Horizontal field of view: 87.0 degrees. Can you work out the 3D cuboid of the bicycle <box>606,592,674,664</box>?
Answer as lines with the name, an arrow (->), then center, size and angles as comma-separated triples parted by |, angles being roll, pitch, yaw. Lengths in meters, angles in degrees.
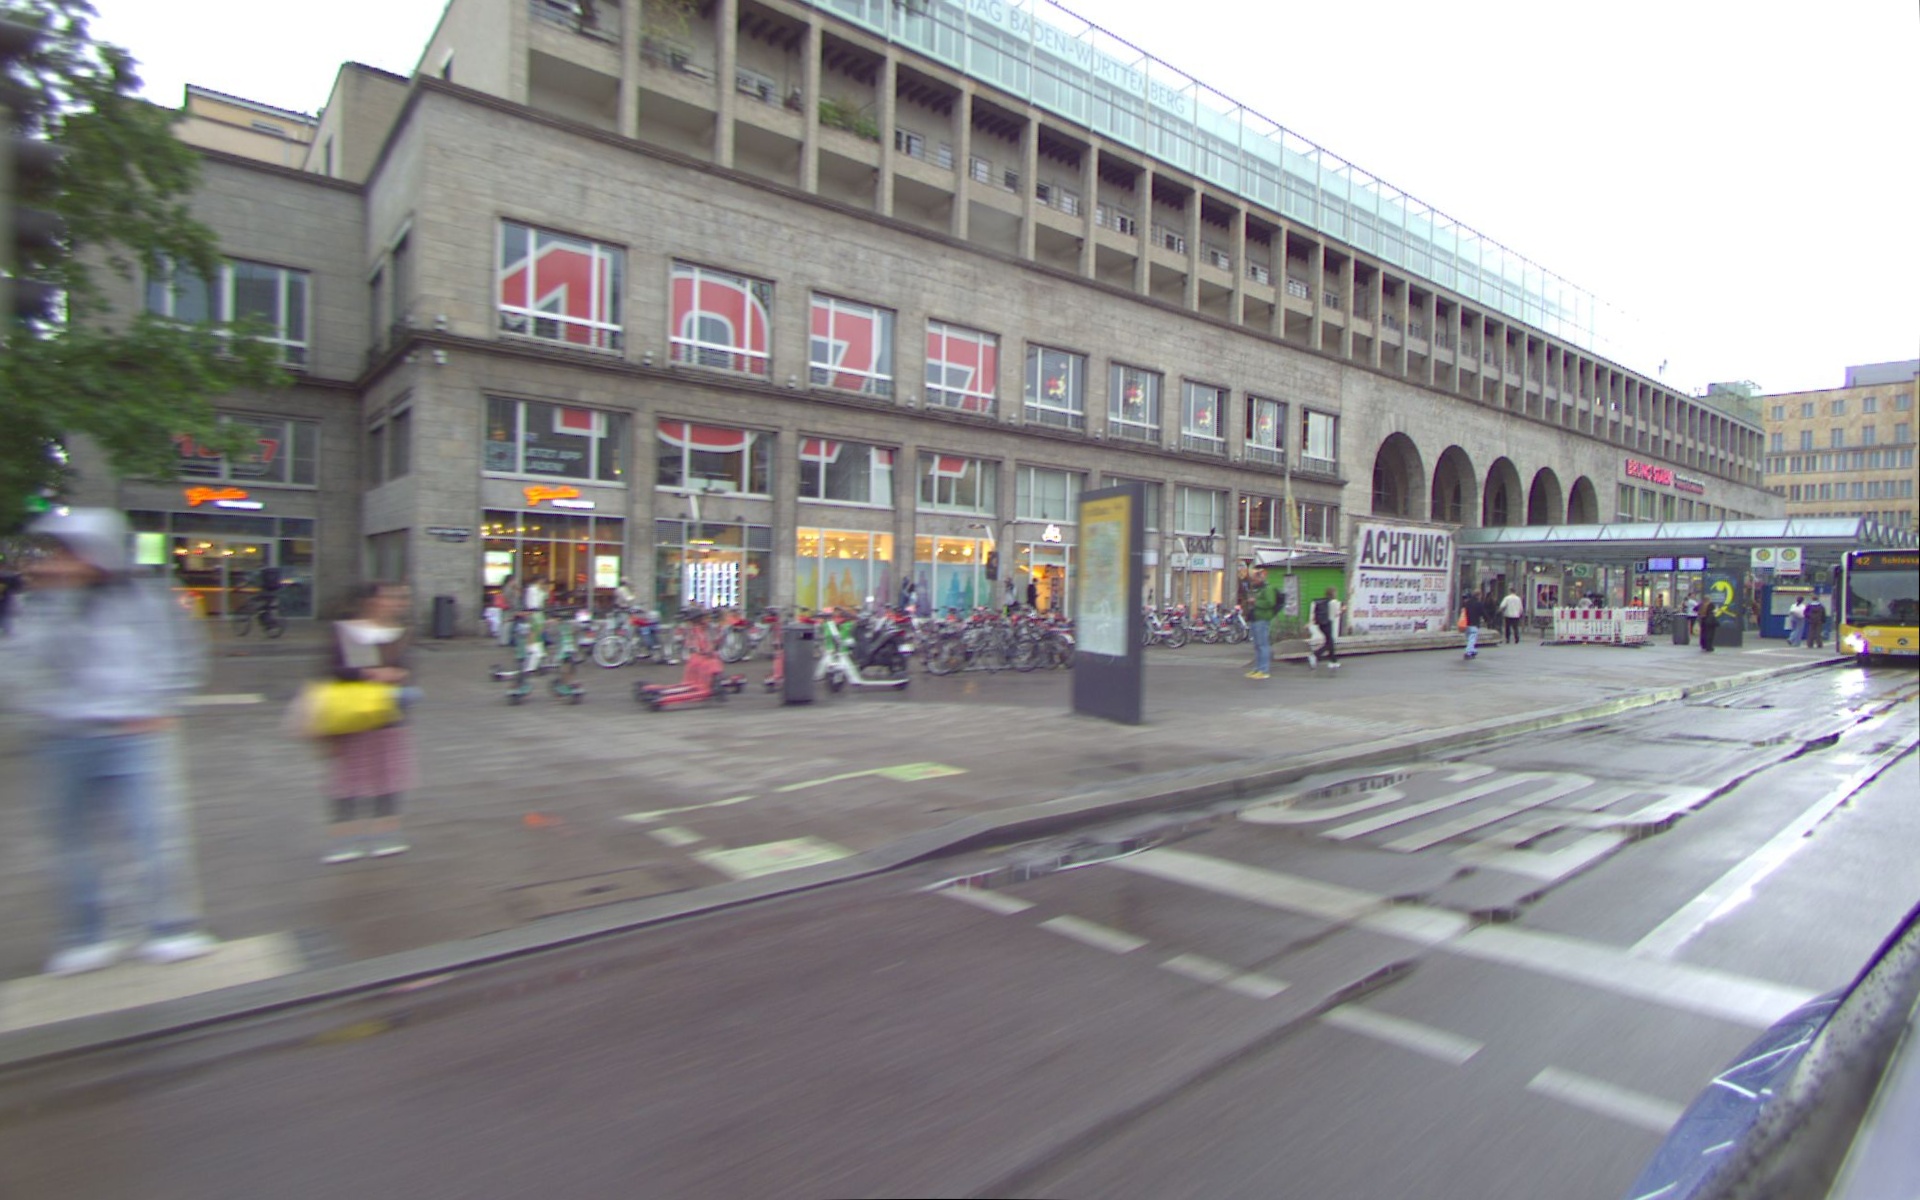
bicycle -> -6.308, 0.521, 19.887 | 0.606, 1.252, 1.995 | 0, 2, -38

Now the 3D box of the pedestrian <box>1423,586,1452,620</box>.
pedestrian -> 23.026, 0.128, 48.775 | 0.973, 1.609, 0.789 | 1, 1, -3

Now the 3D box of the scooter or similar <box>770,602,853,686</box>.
scooter or similar -> -2.386, 0.677, 16.225 | 1.300, 1.272, 0.585 | 0, 0, 37

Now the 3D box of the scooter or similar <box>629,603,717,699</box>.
scooter or similar -> -4.062, 0.695, 14.371 | 1.152, 1.297, 0.369 | 0, 0, -39

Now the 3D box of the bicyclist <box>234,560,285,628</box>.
bicyclist -> -16.561, -0.161, 23.934 | 0.898, 1.574, 0.646 | 1, 1, 25

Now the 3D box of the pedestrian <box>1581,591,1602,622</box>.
pedestrian -> 33.800, 0.338, 54.168 | 0.792, 1.639, 0.859 | 1, 1, 40

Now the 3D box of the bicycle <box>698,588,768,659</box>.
bicycle -> -4.765, 0.458, 21.172 | 0.606, 1.352, 1.995 | 0, 2, -38

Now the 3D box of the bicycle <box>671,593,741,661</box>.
bicycle -> -5.237, 0.520, 20.760 | 0.606, 1.252, 1.995 | 0, 2, -38

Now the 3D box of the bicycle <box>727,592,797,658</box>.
bicycle -> -4.234, 0.511, 21.573 | 0.606, 1.252, 1.995 | 0, 2, -38

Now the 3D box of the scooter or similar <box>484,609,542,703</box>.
scooter or similar -> -6.215, 0.758, 14.105 | 0.466, 1.232, 1.100 | 0, 0, -9

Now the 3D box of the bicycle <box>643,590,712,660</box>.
bicycle -> -5.707, 0.468, 20.375 | 0.606, 1.252, 1.995 | 0, 2, -38

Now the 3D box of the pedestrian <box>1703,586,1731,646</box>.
pedestrian -> 21.086, 0.440, 28.193 | 0.592, 1.639, 0.504 | -1, 0, 40

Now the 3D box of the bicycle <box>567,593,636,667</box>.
bicycle -> -6.842, 0.536, 19.249 | 0.606, 1.252, 1.995 | 0, 2, -38

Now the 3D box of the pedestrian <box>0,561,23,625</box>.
pedestrian -> -24.883, -0.193, 26.472 | 0.456, 1.659, 0.438 | -1, 0, 31

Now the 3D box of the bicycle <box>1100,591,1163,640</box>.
bicycle -> 4.854, 0.430, 28.743 | 0.605, 1.252, 1.999 | 1, 2, -30

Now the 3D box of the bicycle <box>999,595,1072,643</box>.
bicycle -> 1.942, 0.463, 26.007 | 1.720, 1.123, 0.681 | 3, 2, 28

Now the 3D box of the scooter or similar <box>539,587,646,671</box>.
scooter or similar -> -6.495, 0.506, 17.926 | 1.680, 1.446, 0.622 | 0, 0, 5

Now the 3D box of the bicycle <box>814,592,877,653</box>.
bicycle -> -2.591, 0.485, 22.787 | 0.606, 1.240, 1.621 | 0, 2, -38

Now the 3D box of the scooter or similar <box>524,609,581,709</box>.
scooter or similar -> -5.538, 0.772, 13.817 | 0.429, 1.266, 1.368 | 0, 0, -9

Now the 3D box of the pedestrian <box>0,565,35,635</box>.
pedestrian -> -23.190, -0.004, 24.659 | 0.761, 1.689, 0.707 | 0, 0, 21

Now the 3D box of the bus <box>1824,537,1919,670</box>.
bus -> 26.633, 0.043, 27.722 | 9.079, 3.245, 3.119 | -1, 0, -40

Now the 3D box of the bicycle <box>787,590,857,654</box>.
bicycle -> -3.076, 0.454, 22.398 | 0.606, 1.281, 1.995 | 0, 2, -38

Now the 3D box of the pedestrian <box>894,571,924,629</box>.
pedestrian -> -1.536, -0.003, 30.531 | 0.695, 1.710, 0.598 | 0, 1, -40

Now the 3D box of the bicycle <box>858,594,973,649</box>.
bicycle -> -1.095, 0.481, 24.150 | 2.872, 1.123, 0.868 | 4, 2, 38

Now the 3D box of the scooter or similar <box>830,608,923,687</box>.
scooter or similar -> -1.258, 0.701, 15.205 | 1.337, 1.144, 0.439 | 0, -2, -14

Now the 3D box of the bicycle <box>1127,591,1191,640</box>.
bicycle -> 5.632, 0.421, 28.711 | 0.605, 1.252, 1.999 | 1, 2, -29

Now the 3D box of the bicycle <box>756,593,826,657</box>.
bicycle -> -3.691, 0.511, 21.977 | 0.606, 1.252, 1.995 | 0, 2, -38

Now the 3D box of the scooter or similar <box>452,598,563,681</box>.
scooter or similar -> -7.436, 0.613, 16.710 | 0.614, 1.276, 1.738 | 0, 0, 23

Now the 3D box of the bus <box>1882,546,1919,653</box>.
bus -> 33.540, -0.061, 33.551 | 8.972, 3.288, 3.148 | -1, 0, -40

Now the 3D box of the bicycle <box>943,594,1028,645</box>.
bicycle -> 0.629, 0.464, 25.114 | 1.971, 1.123, 0.814 | 3, 2, 36

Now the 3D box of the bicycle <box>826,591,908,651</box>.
bicycle -> -2.158, 0.462, 23.342 | 1.986, 1.252, 0.609 | 3, 2, 38

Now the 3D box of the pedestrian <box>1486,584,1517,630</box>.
pedestrian -> 21.557, 0.264, 40.311 | 0.981, 1.815, 0.783 | 1, 1, 22

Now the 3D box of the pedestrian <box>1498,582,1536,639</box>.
pedestrian -> 17.981, 0.325, 32.675 | 0.741, 1.815, 0.736 | 0, 1, -25

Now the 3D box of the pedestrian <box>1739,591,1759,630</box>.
pedestrian -> 38.293, 0.500, 49.117 | 0.612, 1.883, 0.609 | 1, 0, -30

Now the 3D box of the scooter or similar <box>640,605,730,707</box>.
scooter or similar -> -3.534, 0.698, 13.029 | 1.079, 1.252, 0.325 | 0, 0, -39

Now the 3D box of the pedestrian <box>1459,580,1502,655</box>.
pedestrian -> 11.450, 0.374, 22.282 | 0.491, 1.639, 0.654 | 0, 1, -25

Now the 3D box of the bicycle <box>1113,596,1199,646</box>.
bicycle -> 5.278, 0.550, 27.278 | 2.144, 1.252, 0.619 | 2, 2, -5

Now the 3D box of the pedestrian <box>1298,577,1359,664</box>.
pedestrian -> 7.244, 0.392, 19.905 | 0.772, 1.662, 0.790 | 0, 1, -25

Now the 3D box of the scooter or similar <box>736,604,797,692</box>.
scooter or similar -> -2.893, 0.690, 15.203 | 0.559, 1.246, 1.368 | 0, 0, 4

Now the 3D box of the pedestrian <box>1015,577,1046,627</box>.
pedestrian -> 2.425, 0.058, 34.896 | 0.762, 1.718, 0.723 | 0, 0, -41

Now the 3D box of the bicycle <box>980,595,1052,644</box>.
bicycle -> 1.408, 0.478, 25.474 | 1.685, 1.123, 0.666 | 3, 2, 36

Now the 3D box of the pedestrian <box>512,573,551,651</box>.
pedestrian -> -9.050, 0.246, 21.404 | 0.603, 1.621, 0.647 | 0, 2, -6

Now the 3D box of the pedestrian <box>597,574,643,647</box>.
pedestrian -> -8.026, 0.234, 23.901 | 0.871, 1.695, 0.795 | 0, 0, -32

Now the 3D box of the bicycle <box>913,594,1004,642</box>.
bicycle -> -0.052, 0.418, 24.556 | 2.218, 1.123, 0.733 | 0, 0, 36

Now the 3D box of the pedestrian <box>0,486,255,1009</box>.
pedestrian -> -3.365, 0.504, 4.036 | 0.743, 1.827, 0.700 | 1, 1, 36

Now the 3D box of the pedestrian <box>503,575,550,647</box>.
pedestrian -> -9.495, 0.230, 22.200 | 0.766, 1.542, 0.672 | 1, 1, -5

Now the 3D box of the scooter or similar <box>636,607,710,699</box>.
scooter or similar -> -3.952, 0.715, 13.953 | 0.940, 1.222, 0.306 | 0, 0, -39

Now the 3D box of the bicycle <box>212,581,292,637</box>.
bicycle -> -16.870, 0.201, 24.105 | 1.992, 1.271, 0.656 | 1, 0, 25

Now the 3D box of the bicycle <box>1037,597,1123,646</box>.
bicycle -> 3.173, 0.553, 26.689 | 2.068, 1.153, 0.882 | 3, 2, 25

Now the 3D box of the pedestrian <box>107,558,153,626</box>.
pedestrian -> -22.187, -0.217, 27.075 | 0.849, 1.785, 0.706 | 0, 2, -31

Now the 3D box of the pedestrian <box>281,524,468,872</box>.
pedestrian -> -3.311, 0.503, 5.759 | 0.534, 1.827, 0.752 | 1, 1, 22

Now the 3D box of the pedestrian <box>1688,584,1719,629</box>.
pedestrian -> 31.145, 0.254, 42.394 | 0.780, 1.827, 0.985 | 1, 1, 22

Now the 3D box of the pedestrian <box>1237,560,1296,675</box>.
pedestrian -> 5.346, 0.287, 17.650 | 0.705, 1.957, 0.777 | 1, 1, 41
